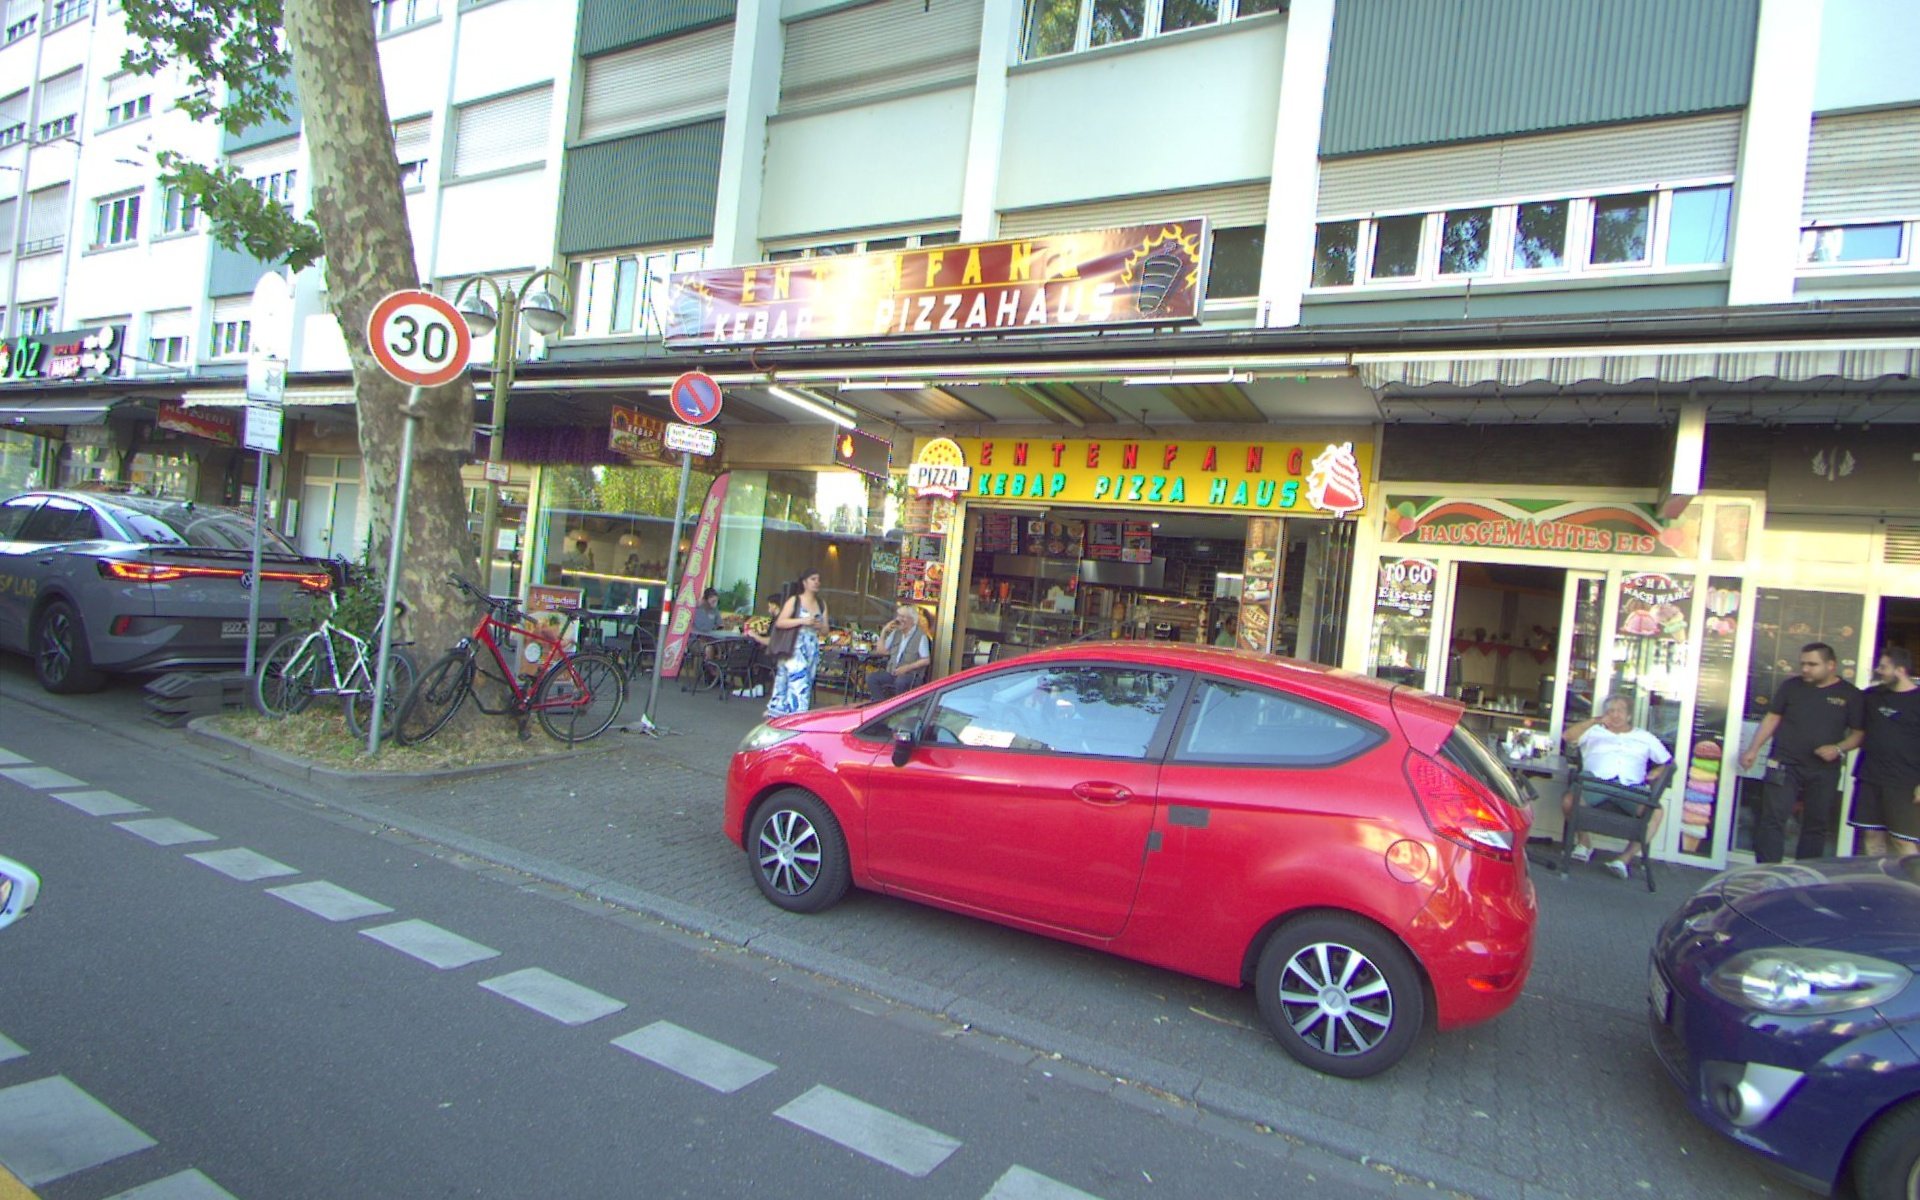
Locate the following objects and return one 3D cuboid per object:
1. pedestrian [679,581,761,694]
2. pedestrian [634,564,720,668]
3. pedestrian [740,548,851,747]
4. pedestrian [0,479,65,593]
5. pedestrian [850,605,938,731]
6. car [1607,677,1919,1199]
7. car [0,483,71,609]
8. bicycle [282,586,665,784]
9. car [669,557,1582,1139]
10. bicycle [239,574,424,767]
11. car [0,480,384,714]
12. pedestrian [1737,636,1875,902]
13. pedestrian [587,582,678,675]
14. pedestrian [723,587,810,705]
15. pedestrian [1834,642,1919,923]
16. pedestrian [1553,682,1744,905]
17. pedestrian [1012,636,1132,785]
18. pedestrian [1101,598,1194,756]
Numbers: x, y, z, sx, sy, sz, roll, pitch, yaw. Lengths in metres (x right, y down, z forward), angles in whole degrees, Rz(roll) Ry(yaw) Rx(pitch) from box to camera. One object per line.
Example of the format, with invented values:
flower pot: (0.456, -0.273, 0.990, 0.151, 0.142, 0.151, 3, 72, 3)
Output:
pedestrian: (-2.887, 0.445, 12.100, 0.680, 1.261, 0.557, 7, 2, 38)
pedestrian: (-4.058, 0.222, 14.483, 0.958, 1.350, 0.830, 6, 0, -9)
pedestrian: (-1.483, 0.419, 9.007, 0.784, 1.668, 0.582, 5, 1, -16)
pedestrian: (-14.599, -1.001, 15.843, 0.661, 1.688, 0.593, 4, 2, -42)
pedestrian: (-0.705, 0.718, 10.831, 0.550, 1.252, 0.689, 7, 2, 29)
car: (4.101, 1.236, 2.854, 3.549, 1.488, 1.767, 6, 3, 29)
car: (-14.460, -0.933, 13.739, 4.292, 1.603, 1.996, 7, 2, 27)
bicycle: (-3.315, 0.526, 7.097, 0.547, 1.171, 2.377, 7, 4, 44)
car: (0.669, 0.787, 4.915, 3.757, 1.617, 1.783, 6, 3, 28)
bicycle: (-4.537, 0.472, 7.235, 1.421, 1.169, 0.553, 6, 0, 36)
car: (-7.643, -0.158, 9.248, 4.292, 1.603, 1.996, 7, 2, 27)
pedestrian: (6.077, 1.182, 7.253, 0.547, 1.802, 0.395, 6, 2, 29)
pedestrian: (-4.288, 0.366, 13.235, 0.940, 1.094, 0.639, 7, 0, -9)
pedestrian: (-2.237, 0.520, 11.629, 0.679, 1.261, 0.558, 7, 2, 33)
pedestrian: (6.411, 1.212, 6.776, 0.391, 1.805, 0.552, 4, 2, -29)
pedestrian: (4.956, 1.333, 7.335, 0.937, 1.352, 1.069, 7, 0, 30)
pedestrian: (1.044, 0.996, 9.316, 0.798, 1.225, 0.654, 7, 2, 28)
pedestrian: (2.003, 0.817, 10.729, 0.589, 1.566, 0.700, 7, 0, 34)
